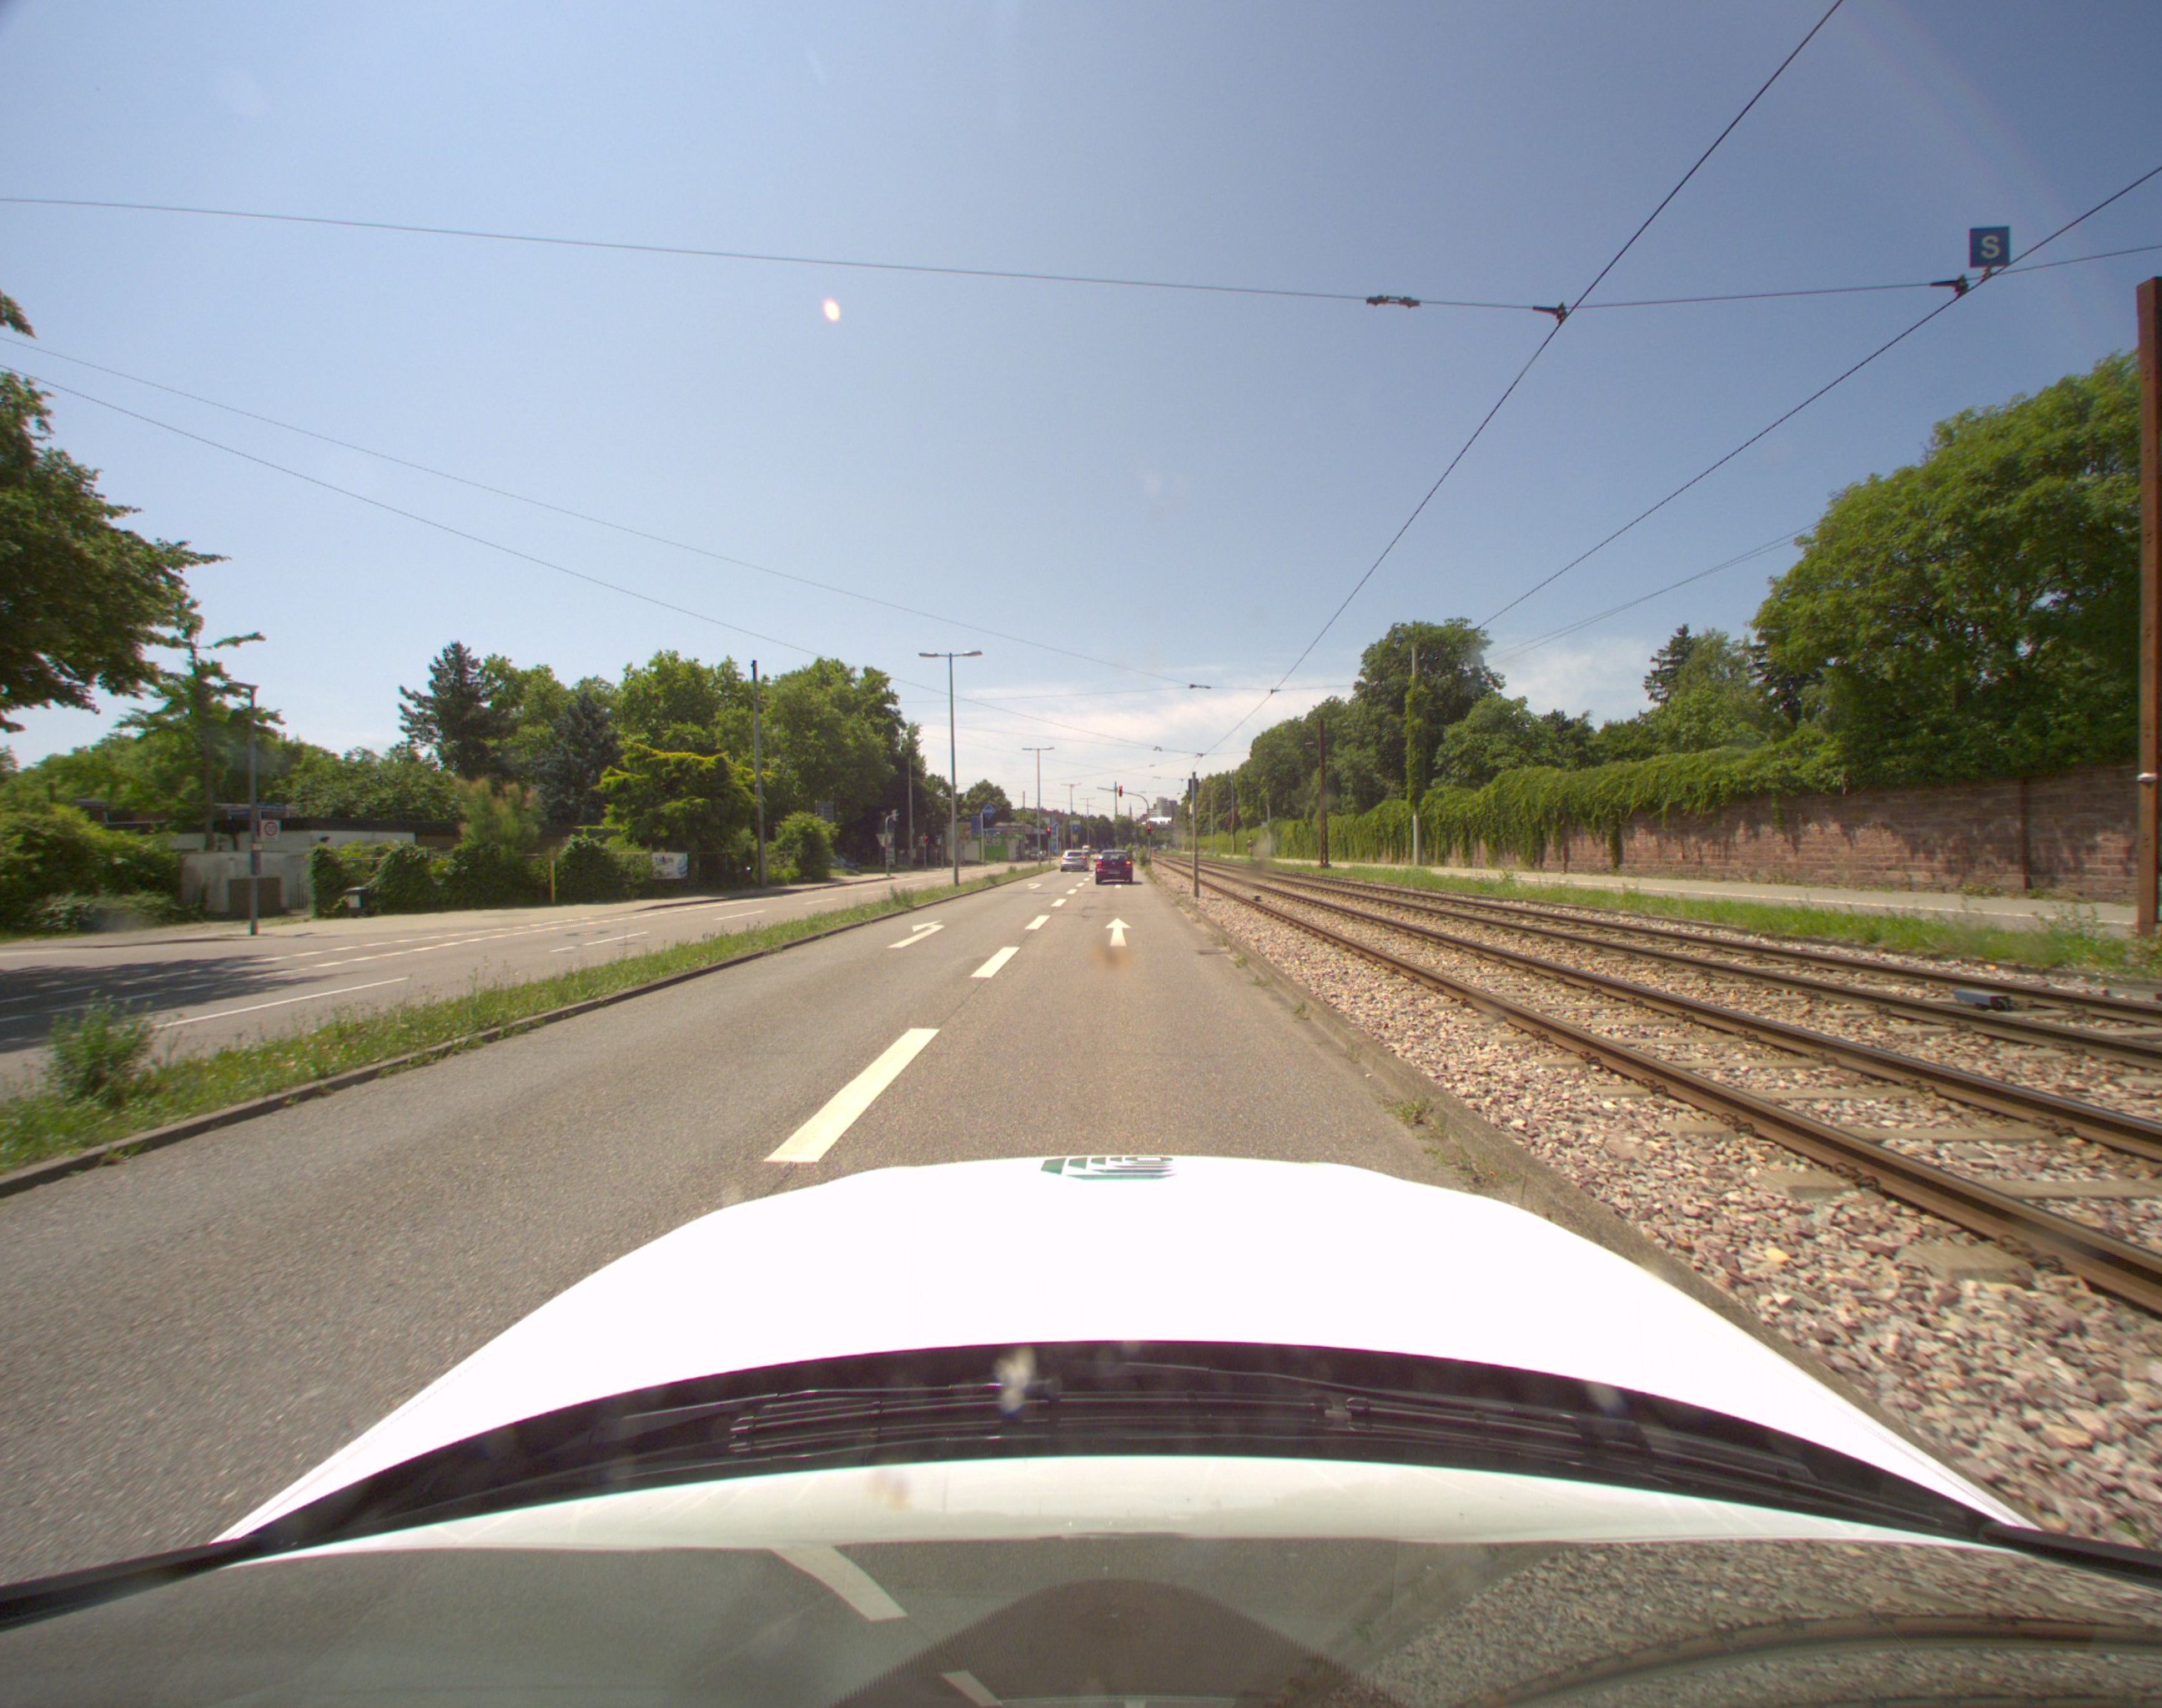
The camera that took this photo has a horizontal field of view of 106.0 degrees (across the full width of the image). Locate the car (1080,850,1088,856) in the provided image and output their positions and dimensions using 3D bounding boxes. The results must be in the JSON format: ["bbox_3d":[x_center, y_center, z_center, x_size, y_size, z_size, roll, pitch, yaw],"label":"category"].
[{"bbox_3d":[0.833,-0.169,214.340,1.988,1.596,3.996,0,-1,-2],"label":"car"}]

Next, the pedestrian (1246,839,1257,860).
[{"bbox_3d":[13.784,-0.375,65.916,0.659,1.726,0.817,-2,0,2],"label":"pedestrian"}]

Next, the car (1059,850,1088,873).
[{"bbox_3d":[-0.511,0.503,56.130,1.695,1.481,3.720,-1,0,4],"label":"car"}]

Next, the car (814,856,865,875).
[{"bbox_3d":[-21.597,1.032,72.828,3.959,1.579,1.778,-2,0,13],"label":"car"}]

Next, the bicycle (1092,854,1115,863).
[{"bbox_3d":[2.604,0.508,94.538,2.547,1.038,1.085,0,-1,-7],"label":"bicycle"}]

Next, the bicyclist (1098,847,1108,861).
[{"bbox_3d":[2.551,0.018,94.564,0.943,1.593,1.085,0,-1,-6],"label":"bicyclist"}]

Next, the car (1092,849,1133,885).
[{"bbox_3d":[1.360,0.544,35.895,1.697,1.477,3.717,-1,0,1],"label":"car"}]
